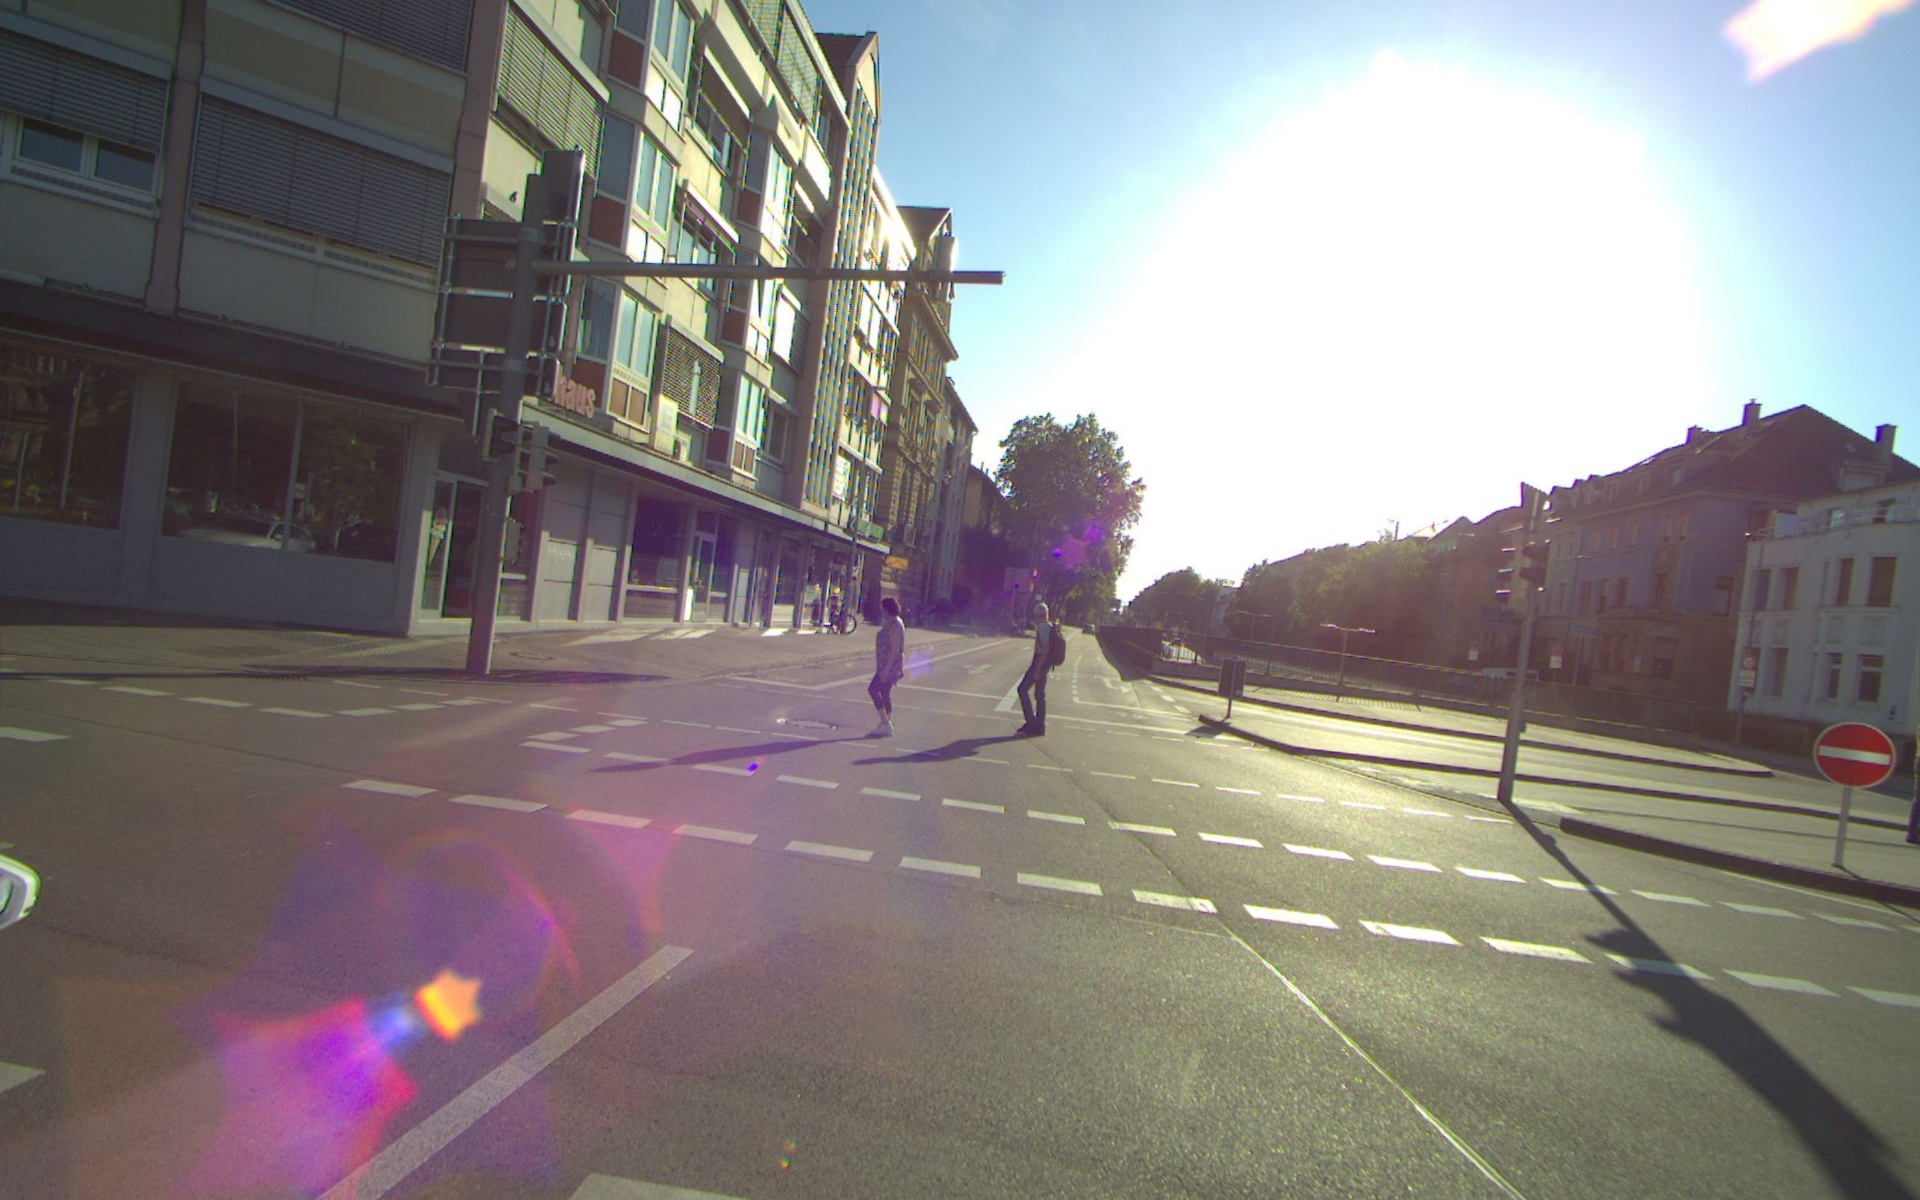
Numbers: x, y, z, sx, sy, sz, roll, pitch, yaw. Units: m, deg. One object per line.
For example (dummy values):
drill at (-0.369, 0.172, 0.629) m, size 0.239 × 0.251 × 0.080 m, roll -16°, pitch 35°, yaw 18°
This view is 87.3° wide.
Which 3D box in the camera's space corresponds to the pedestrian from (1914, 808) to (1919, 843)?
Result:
pedestrian at (11.071, 2.020, 10.759) m, size 0.694 × 1.471 × 0.856 m, roll 9°, pitch 1°, yaw 3°

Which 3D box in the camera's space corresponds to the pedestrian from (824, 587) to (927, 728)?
pedestrian at (-0.980, 0.662, 11.600) m, size 0.845 × 1.480 × 0.683 m, roll 9°, pitch -4°, yaw -22°

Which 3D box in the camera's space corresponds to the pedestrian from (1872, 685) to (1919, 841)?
pedestrian at (12.556, 2.132, 12.602) m, size 1.176 × 1.906 × 0.856 m, roll 9°, pitch 1°, yaw 2°

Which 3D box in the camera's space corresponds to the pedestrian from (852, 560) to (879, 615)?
pedestrian at (-4.458, -0.586, 47.575) m, size 0.913 × 2.427 × 0.960 m, roll 9°, pitch 1°, yaw -4°

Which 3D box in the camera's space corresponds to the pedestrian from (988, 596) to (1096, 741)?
pedestrian at (1.112, 0.918, 13.792) m, size 1.176 × 1.752 × 0.856 m, roll 9°, pitch 1°, yaw 2°

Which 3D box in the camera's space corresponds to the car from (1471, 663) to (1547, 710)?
car at (33.379, 5.215, 61.297) m, size 2.250 × 2.198 × 4.837 m, roll 9°, pitch 0°, yaw 9°

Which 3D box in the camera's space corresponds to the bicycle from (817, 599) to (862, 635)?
bicycle at (-4.219, 0.628, 35.348) m, size 0.444 × 1.083 × 2.092 m, roll 9°, pitch 0°, yaw 24°
